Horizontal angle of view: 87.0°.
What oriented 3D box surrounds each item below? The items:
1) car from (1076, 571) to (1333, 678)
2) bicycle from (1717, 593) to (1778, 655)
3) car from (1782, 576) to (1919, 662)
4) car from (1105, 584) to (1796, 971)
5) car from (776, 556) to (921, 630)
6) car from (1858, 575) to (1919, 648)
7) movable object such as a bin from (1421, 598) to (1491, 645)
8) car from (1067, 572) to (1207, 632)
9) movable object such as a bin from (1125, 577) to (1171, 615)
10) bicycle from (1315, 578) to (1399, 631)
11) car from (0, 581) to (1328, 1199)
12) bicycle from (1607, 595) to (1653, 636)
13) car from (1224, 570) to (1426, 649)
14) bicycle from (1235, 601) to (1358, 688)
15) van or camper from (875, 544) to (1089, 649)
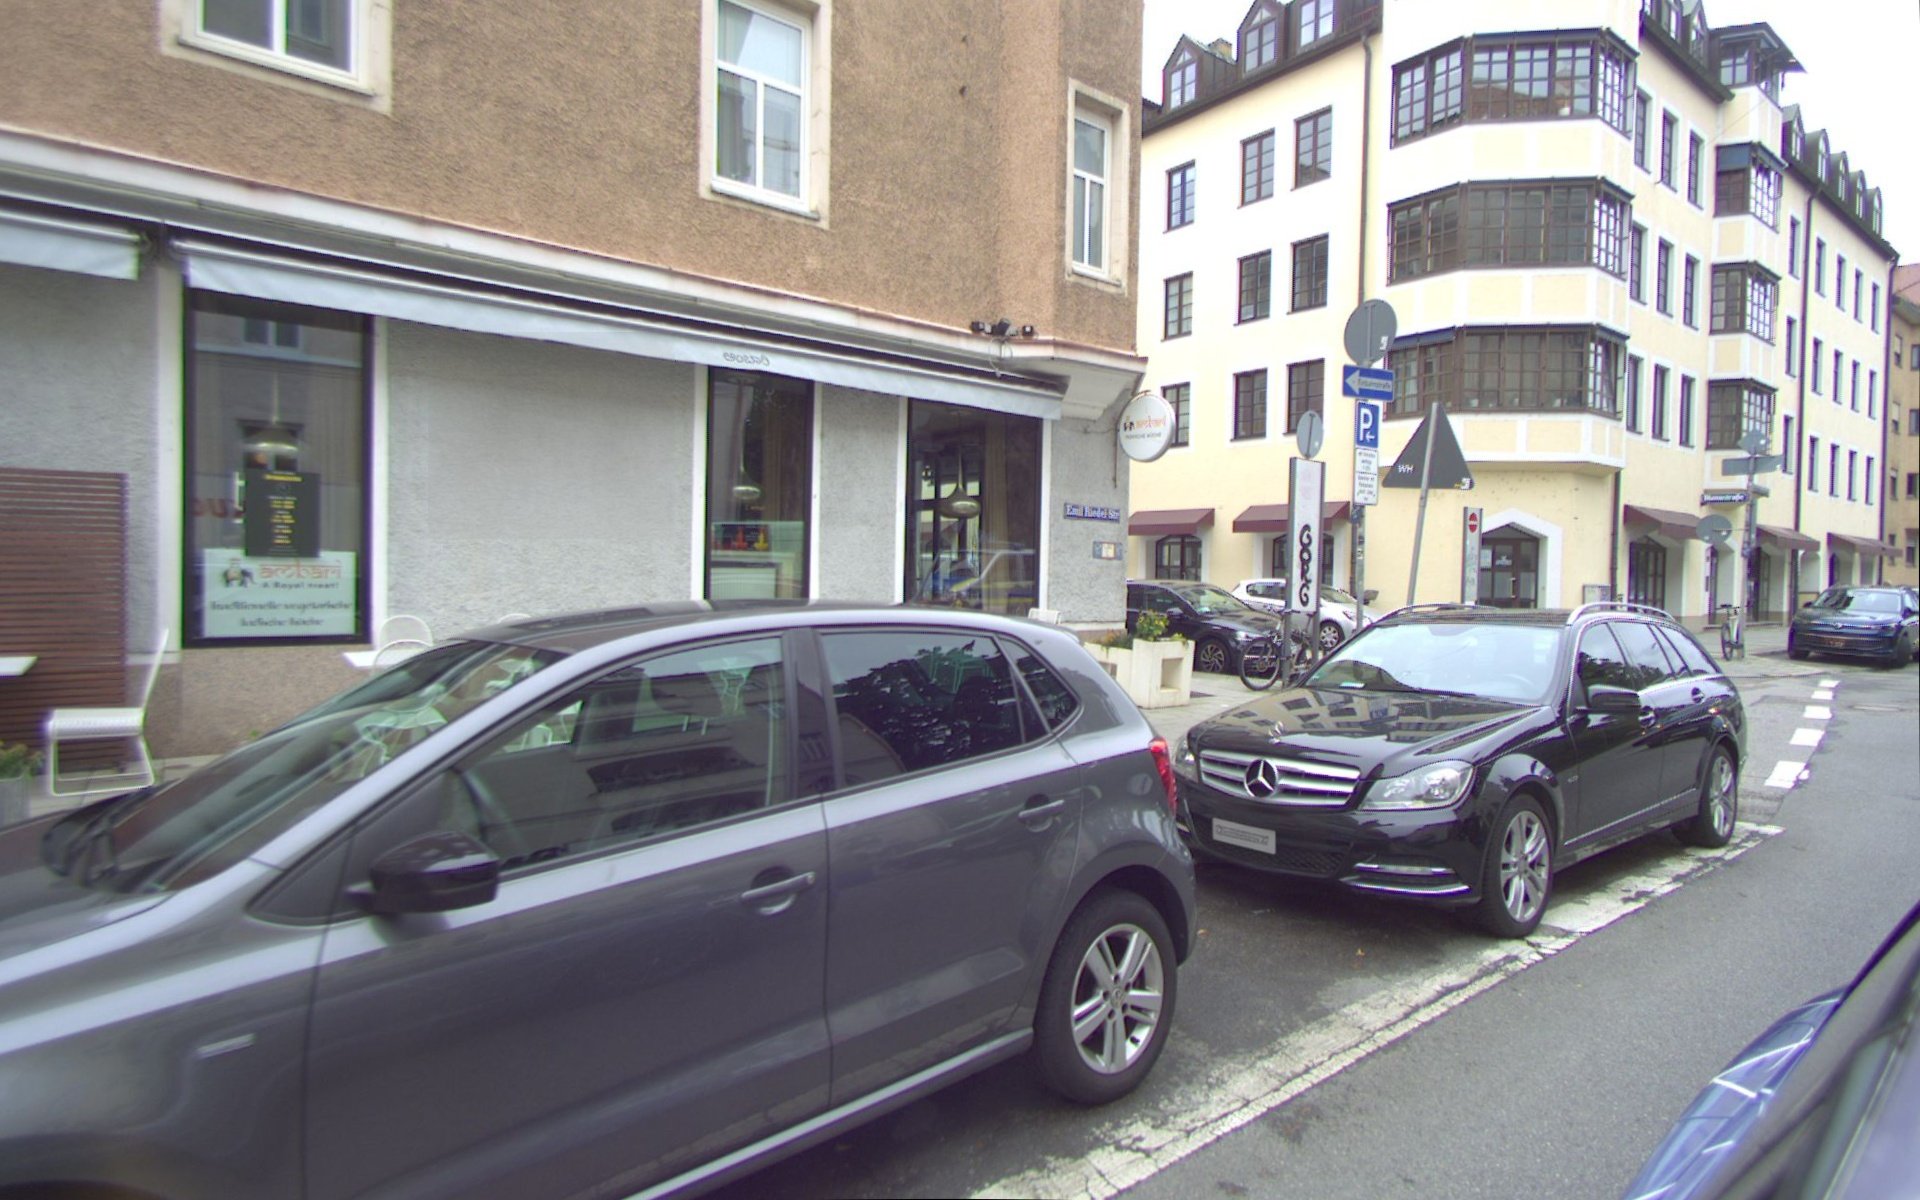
[{"bbox_3d":[3.971,0.304,16.948,1.858,1.506,3.884,-1,3,-37],"label":"car"},{"bbox_3d":[15.968,0.461,20.513,2.015,1.173,0.431,-1,3,-37],"label":"bicycle"},{"bbox_3d":[19.848,0.336,21.997,4.414,1.642,2.112,-1,2,-38],"label":"car"},{"bbox_3d":[3.159,0.634,5.992,4.701,1.422,1.851,-1,2,-39],"label":"car"},{"bbox_3d":[-2.910,-0.246,25.736,1.941,1.664,3.998,-1,3,-36],"label":"car"},{"bbox_3d":[24.060,0.258,24.958,4.085,1.607,1.821,-1,7,-35],"label":"car"},{"bbox_3d":[10.391,0.435,21.221,0.671,0.911,1.126,-1,3,-37],"label":"movable object such as a bin"},{"bbox_3d":[4.533,-0.001,26.330,1.608,1.353,3.458,-1,3,-34],"label":"car"},{"bbox_3d":[5.635,-0.141,30.339,0.753,1.094,1.126,-1,3,-37],"label":"movable object such as a bin"},{"bbox_3d":[9.695,0.087,24.799,0.506,1.201,1.906,0,2,-37],"label":"bicycle"},{"bbox_3d":[-0.790,0.680,2.845,4.109,1.411,1.576,-1,3,-40],"label":"car"},{"bbox_3d":[15.900,0.364,24.011,1.663,0.912,0.263,-1,7,-36],"label":"bicycle"},{"bbox_3d":[7.773,0.165,21.834,1.717,1.458,3.749,3,1,-34],"label":"car"},{"bbox_3d":[4.306,0.550,12.897,1.769,1.017,0.497,1,3,-36],"label":"bicycle"},{"bbox_3d":[0.320,-0.189,21.392,1.925,1.942,4.915,-3,4,-36],"label":"van or camper"}]
